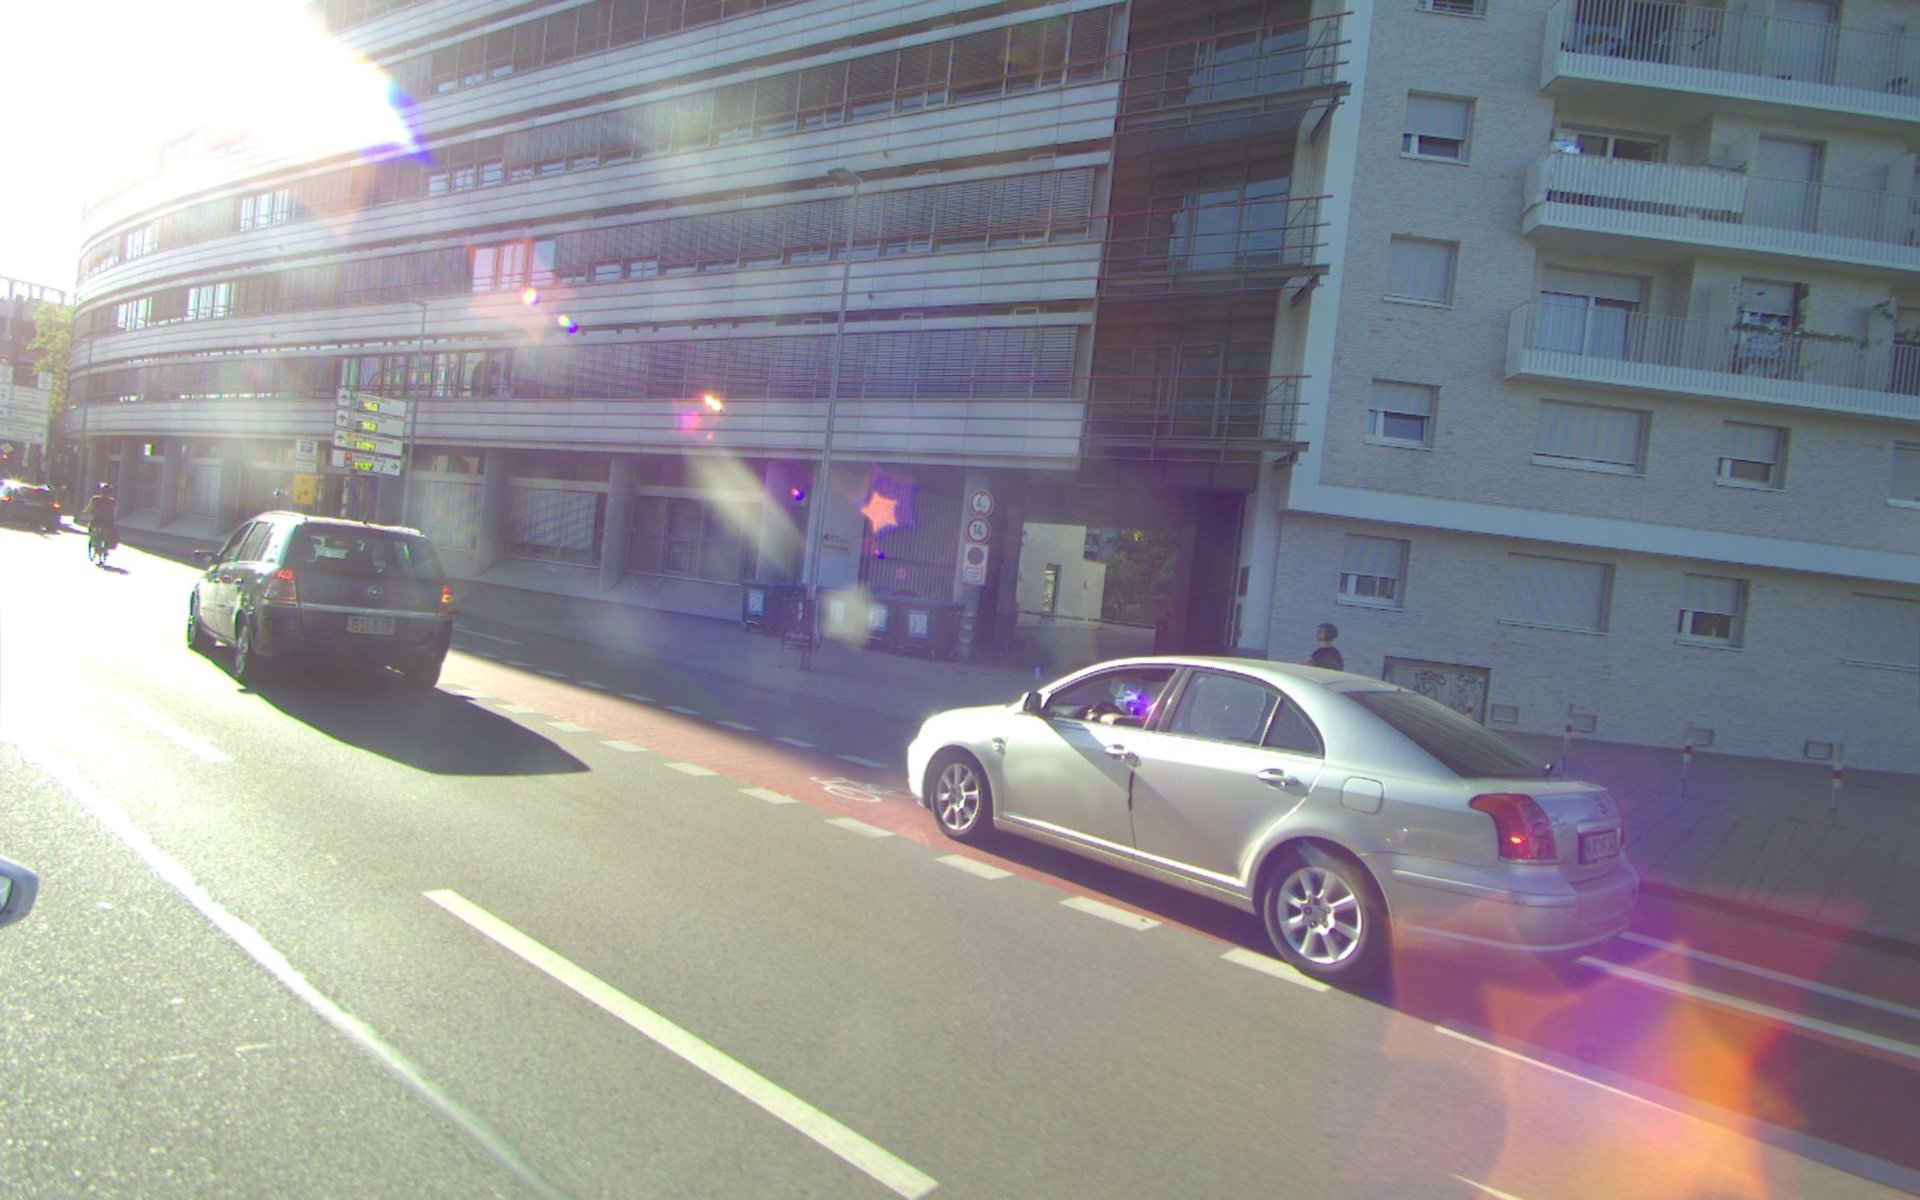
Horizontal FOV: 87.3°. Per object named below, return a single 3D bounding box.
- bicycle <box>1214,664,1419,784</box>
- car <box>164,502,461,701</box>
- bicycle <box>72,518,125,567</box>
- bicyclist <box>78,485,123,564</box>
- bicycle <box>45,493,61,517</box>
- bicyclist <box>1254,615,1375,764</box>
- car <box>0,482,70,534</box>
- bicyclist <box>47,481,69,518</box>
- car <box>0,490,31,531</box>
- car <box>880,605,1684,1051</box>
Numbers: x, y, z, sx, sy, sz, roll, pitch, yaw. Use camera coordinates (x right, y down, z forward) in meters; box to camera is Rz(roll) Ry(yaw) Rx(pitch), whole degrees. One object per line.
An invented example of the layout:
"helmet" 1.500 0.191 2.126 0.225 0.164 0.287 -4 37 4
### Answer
"bicycle" 4.160 1.421 11.904 2.177 1.046 0.497 7 1 44
"car" -7.124 -0.071 10.853 4.404 1.649 1.683 7 1 45
"bicycle" -20.942 -1.409 24.447 2.293 1.010 0.491 7 2 38
"bicyclist" -20.826 -1.823 24.378 0.851 1.814 0.576 7 2 38
"bicycle" -43.027 -4.496 47.740 0.501 1.072 1.682 2 3 -41
"bicyclist" 4.192 1.036 11.910 1.029 1.587 0.623 7 2 42
"car" -37.898 -3.780 40.663 4.262 1.772 1.992 7 1 37
"bicyclist" -42.956 -4.771 47.926 0.681 1.639 0.979 5 2 -42
"car" -43.039 -4.101 44.800 3.943 1.672 1.990 7 1 41
"car" 1.576 1.004 6.306 1.743 1.449 4.436 6 1 -41
